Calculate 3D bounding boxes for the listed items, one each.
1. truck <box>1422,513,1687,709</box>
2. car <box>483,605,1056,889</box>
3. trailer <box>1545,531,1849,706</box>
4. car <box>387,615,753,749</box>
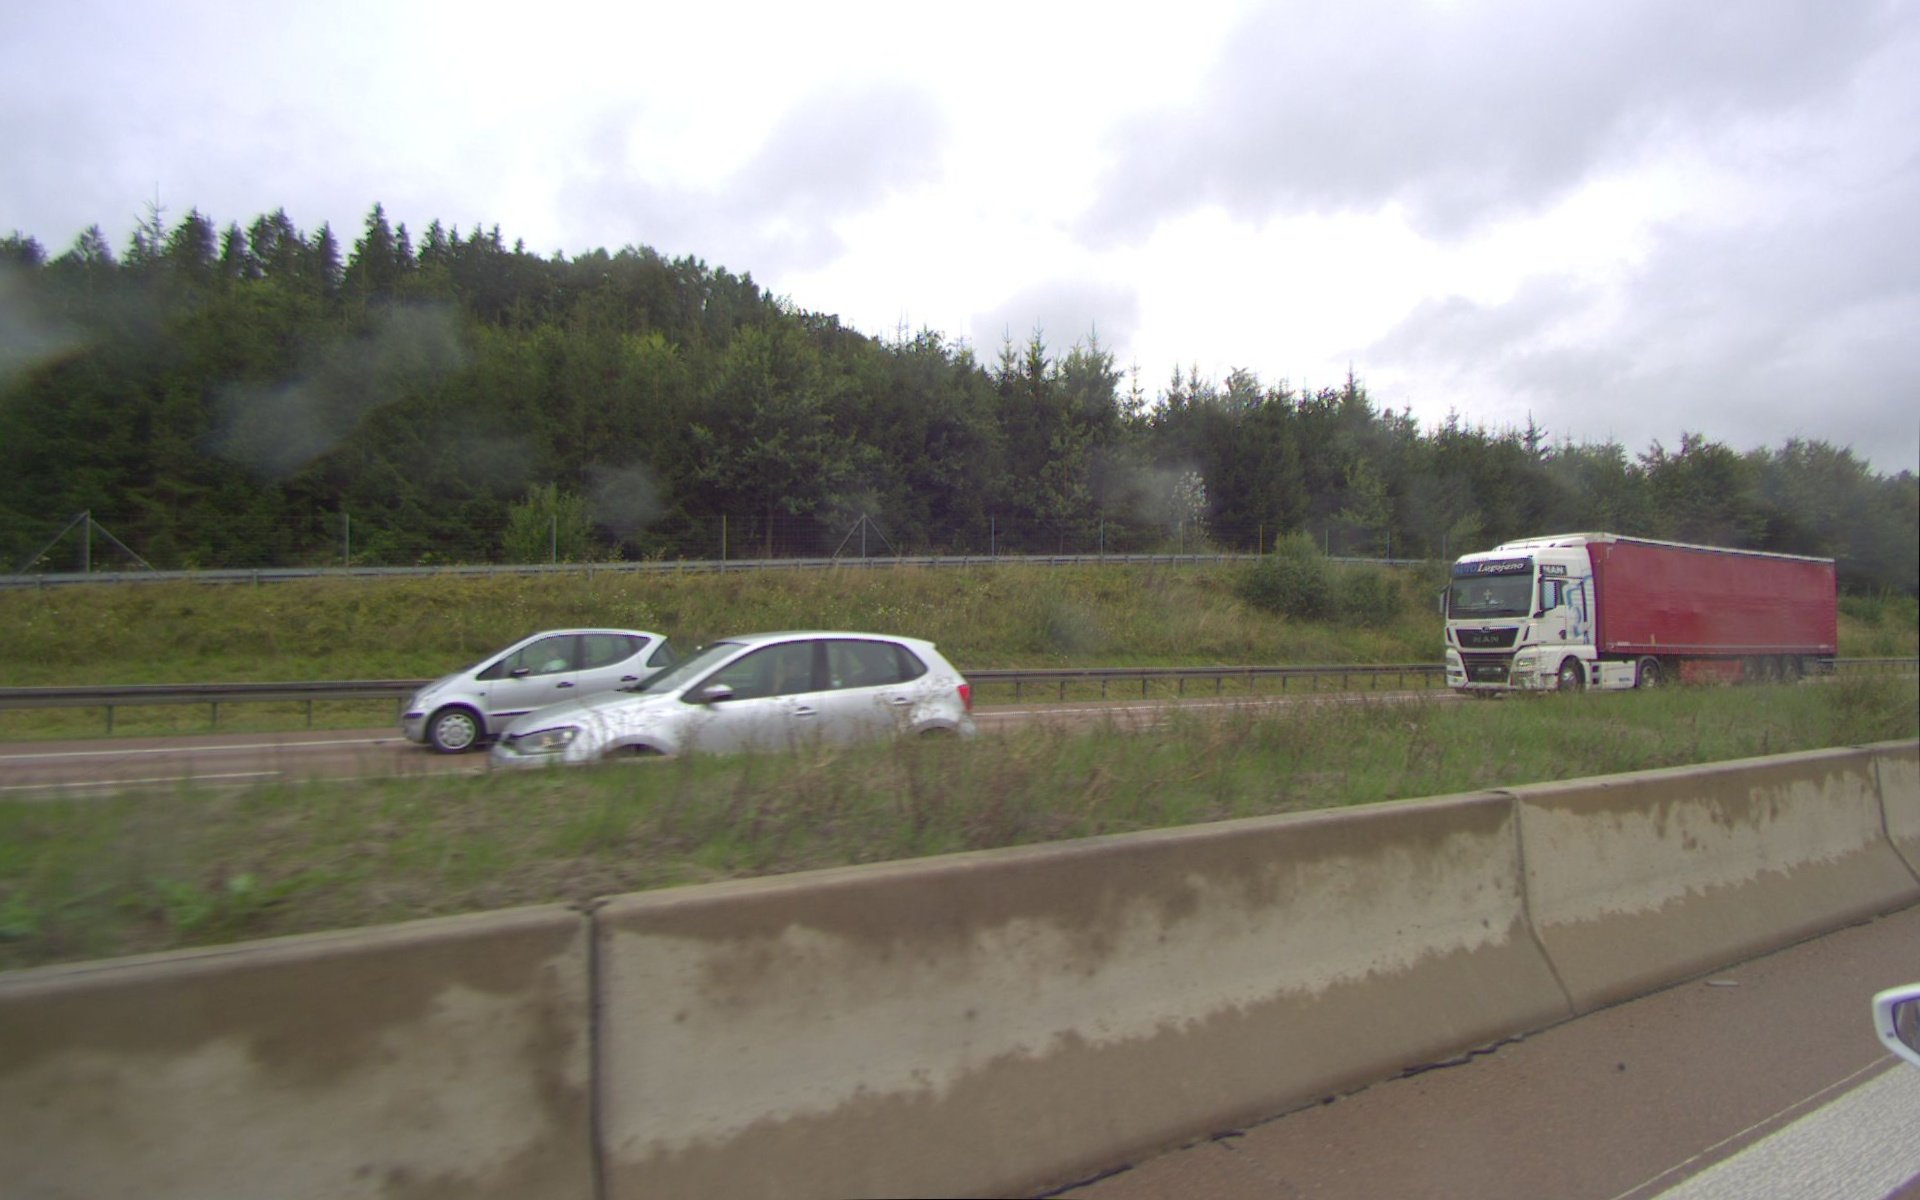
[{"bbox_3d":[15.514,0.369,26.137,6.713,4.536,2.936,3,0,-30],"label":"truck"},{"bbox_3d":[-1.466,1.046,8.413,4.365,1.809,1.693,3,0,-32],"label":"car"},{"bbox_3d":[22.452,0.706,30.260,11.638,4.548,2.926,3,0,-30],"label":"trailer"},{"bbox_3d":[-5.385,1.091,14.015,4.472,1.596,1.984,3,-2,-30],"label":"car"}]
